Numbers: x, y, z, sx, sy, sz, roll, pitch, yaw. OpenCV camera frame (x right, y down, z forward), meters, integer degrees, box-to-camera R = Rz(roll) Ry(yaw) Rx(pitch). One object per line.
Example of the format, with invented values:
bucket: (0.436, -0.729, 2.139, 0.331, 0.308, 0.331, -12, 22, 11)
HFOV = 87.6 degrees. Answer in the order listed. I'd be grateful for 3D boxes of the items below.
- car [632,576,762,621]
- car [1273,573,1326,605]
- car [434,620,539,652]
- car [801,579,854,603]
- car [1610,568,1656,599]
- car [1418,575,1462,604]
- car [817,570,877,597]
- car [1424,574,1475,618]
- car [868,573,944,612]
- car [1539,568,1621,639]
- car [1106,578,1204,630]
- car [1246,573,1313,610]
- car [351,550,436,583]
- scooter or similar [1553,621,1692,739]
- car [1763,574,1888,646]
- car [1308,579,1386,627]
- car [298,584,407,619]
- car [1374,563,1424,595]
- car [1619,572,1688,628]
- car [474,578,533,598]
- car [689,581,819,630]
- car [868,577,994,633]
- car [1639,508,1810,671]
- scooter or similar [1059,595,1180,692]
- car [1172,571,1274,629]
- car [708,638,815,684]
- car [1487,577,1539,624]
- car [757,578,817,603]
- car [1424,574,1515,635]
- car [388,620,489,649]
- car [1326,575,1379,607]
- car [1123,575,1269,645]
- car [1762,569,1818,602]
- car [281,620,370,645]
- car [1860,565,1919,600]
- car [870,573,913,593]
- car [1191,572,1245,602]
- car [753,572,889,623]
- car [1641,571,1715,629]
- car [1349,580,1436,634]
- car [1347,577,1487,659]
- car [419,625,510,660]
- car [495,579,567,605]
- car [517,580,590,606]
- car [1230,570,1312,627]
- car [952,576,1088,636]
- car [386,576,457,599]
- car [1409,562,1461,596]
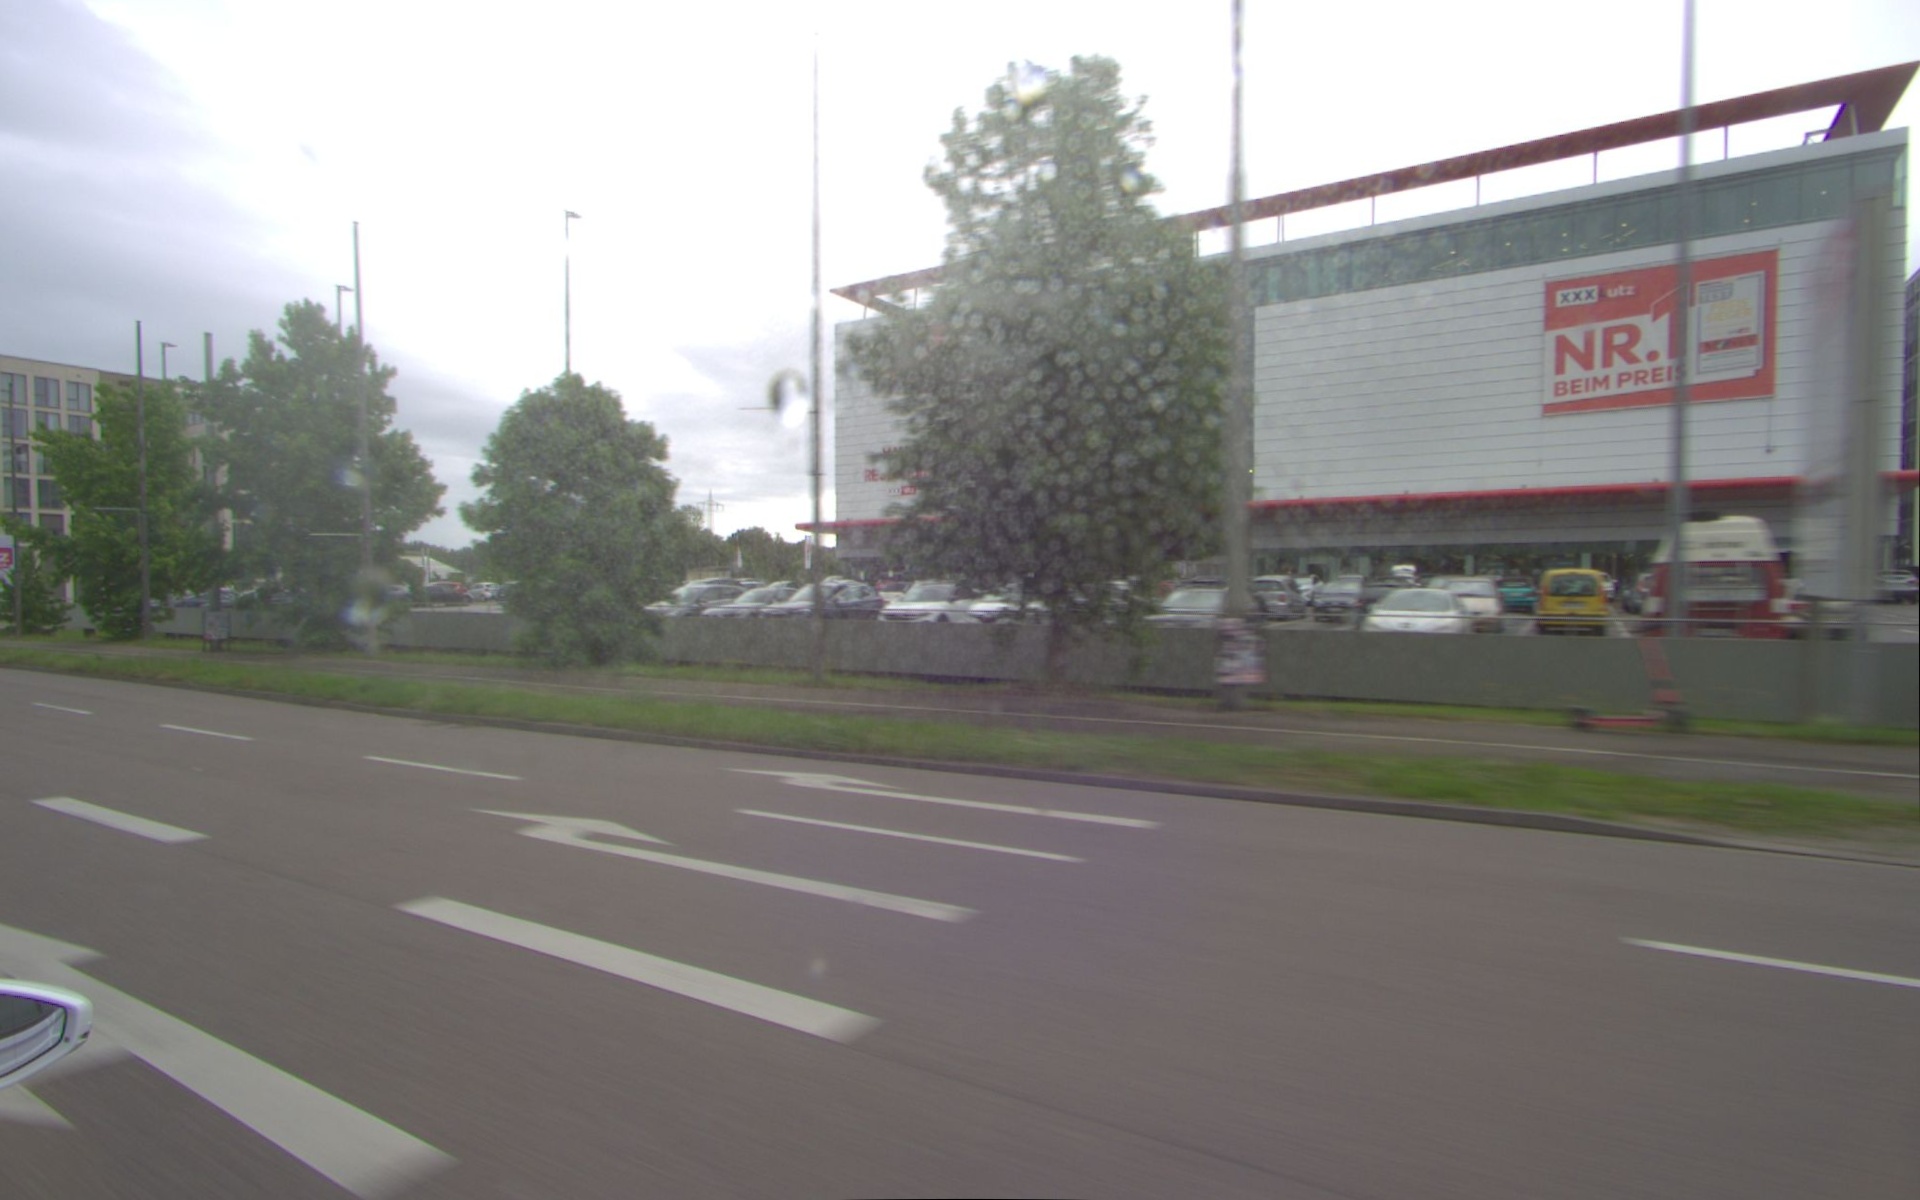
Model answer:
car: (-8.592, -0.062, 33.021, 1.738, 1.369, 4.046, 3, 2, 32)
car: (17.597, -0.568, 51.812, 1.717, 1.575, 3.762, 3, 2, 33)
car: (-18.553, 1.392, 39.330, 1.434, 1.146, 3.506, 0, 0, 33)
car: (-9.190, -0.632, 69.472, 1.677, 1.553, 3.623, 3, 2, 33)
car: (35.645, -0.869, 53.117, 1.804, 1.575, 3.785, 3, 2, 32)
car: (27.710, -0.602, 57.706, 1.804, 1.575, 3.784, 1, 1, 33)
car: (-6.986, -0.991, 62.147, 1.679, 1.576, 3.619, 3, 2, 37)
car: (21.526, -0.147, 43.954, 1.860, 1.846, 3.983, 0, 0, 29)
car: (-2.524, -0.363, 47.485, 1.709, 1.725, 3.726, 3, 2, 34)
car: (17.234, 0.032, 27.759, 1.709, 1.793, 3.724, 3, 3, 34)
car: (6.816, 0.141, 34.708, 1.809, 1.686, 4.159, 0, 0, 36)
car: (15.121, -0.378, 47.289, 1.856, 1.632, 3.974, 3, 2, 35)
car: (-41.495, -2.402, 73.423, 2.137, 2.241, 4.994, 3, 2, 37)
scooter or similar: (7.236, 0.853, 10.987, 1.230, 1.207, 0.369, 1, 2, 33)
car: (21.424, 0.223, 24.961, 1.808, 1.605, 4.399, 3, 1, 34)
car: (14.137, 0.128, 36.449, 1.822, 1.647, 3.976, 0, 0, 34)
car: (-28.661, 0.065, 47.370, 1.784, 1.545, 4.062, 2, 1, 29)
car: (22.913, -1.088, 52.146, 1.804, 1.575, 3.785, 3, 2, 32)
car: (27.520, -0.006, 39.856, 1.885, 2.084, 3.981, 2, 1, 30)
car: (-36.879, -0.960, 80.995, 1.841, 1.599, 3.976, 0, 0, 35)
car: (-6.438, 0.148, 31.697, 1.738, 1.418, 4.046, 3, 2, 32)
car: (-0.720, 0.110, 27.844, 1.736, 1.369, 4.050, 2, 1, 28)
car: (13.973, -0.200, 18.589, 2.140, 2.614, 4.710, 3, 2, 34)
scooter or similar: (2.476, 0.651, 15.652, 1.799, 1.440, 0.646, -1, 1, 42)
car: (8.791, 0.005, 33.248, 1.863, 1.767, 4.299, 3, 1, 35)
car: (-7.608, 2.303, 38.678, 1.739, 1.572, 4.045, 0, 0, 33)
car: (23.360, 0.039, 42.267, 1.813, 1.864, 3.982, 0, 0, 30)
car: (-11.115, -0.592, 64.521, 1.679, 1.537, 3.619, 3, 2, 37)
car: (15.038, 0.108, 29.457, 1.853, 1.617, 3.976, 3, 2, 34)
car: (-21.926, 1.420, 42.191, 1.494, 1.146, 3.506, 0, 0, 33)
car: (20.421, -0.455, 52.028, 1.804, 1.575, 3.784, 3, 2, 33)
car: (5.650, 0.191, 23.551, 1.841, 1.438, 4.453, 3, 2, 34)
car: (40.888, -0.698, 49.380, 1.699, 1.497, 3.518, 3, 2, 34)
car: (-36.735, 1.861, 58.066, 1.739, 1.368, 4.045, 0, 0, 33)
car: (44.019, -0.849, 47.339, 1.628, 1.581, 3.593, 2, 3, 34)
car: (-5.349, -1.321, 78.815, 1.682, 1.518, 3.629, 2, 2, 28)
car: (14.361, -0.731, 55.616, 1.717, 1.575, 3.762, 3, 2, 33)
car: (-4.072, -0.094, 29.904, 1.783, 1.369, 4.144, 3, 2, 32)
car: (22.171, 0.012, 31.036, 1.762, 1.656, 3.976, 0, 0, 35)
car: (13.230, 0.209, 30.541, 1.861, 1.554, 3.979, 0, 0, 32)
car: (9.698, 0.322, 21.071, 1.933, 1.481, 4.362, 3, 2, 34)
car: (-28.890, 2.444, 58.478, 1.973, 1.856, 4.355, 0, 0, 35)
car: (-26.935, -0.516, 62.930, 1.760, 1.528, 3.829, 2, 2, 36)
car: (-24.949, -0.471, 61.552, 1.760, 1.528, 3.829, 2, 2, 36)
car: (11.905, -0.041, 38.182, 1.950, 2.040, 3.976, 0, 0, 34)
car: (1.637, 0.126, 25.955, 1.808, 1.369, 4.046, 3, 2, 32)
car: (-35.996, -0.844, 67.034, 1.760, 1.528, 3.829, 2, 2, 36)
car: (23.447, -1.017, 49.371, 1.804, 1.575, 3.784, 3, 2, 33)
